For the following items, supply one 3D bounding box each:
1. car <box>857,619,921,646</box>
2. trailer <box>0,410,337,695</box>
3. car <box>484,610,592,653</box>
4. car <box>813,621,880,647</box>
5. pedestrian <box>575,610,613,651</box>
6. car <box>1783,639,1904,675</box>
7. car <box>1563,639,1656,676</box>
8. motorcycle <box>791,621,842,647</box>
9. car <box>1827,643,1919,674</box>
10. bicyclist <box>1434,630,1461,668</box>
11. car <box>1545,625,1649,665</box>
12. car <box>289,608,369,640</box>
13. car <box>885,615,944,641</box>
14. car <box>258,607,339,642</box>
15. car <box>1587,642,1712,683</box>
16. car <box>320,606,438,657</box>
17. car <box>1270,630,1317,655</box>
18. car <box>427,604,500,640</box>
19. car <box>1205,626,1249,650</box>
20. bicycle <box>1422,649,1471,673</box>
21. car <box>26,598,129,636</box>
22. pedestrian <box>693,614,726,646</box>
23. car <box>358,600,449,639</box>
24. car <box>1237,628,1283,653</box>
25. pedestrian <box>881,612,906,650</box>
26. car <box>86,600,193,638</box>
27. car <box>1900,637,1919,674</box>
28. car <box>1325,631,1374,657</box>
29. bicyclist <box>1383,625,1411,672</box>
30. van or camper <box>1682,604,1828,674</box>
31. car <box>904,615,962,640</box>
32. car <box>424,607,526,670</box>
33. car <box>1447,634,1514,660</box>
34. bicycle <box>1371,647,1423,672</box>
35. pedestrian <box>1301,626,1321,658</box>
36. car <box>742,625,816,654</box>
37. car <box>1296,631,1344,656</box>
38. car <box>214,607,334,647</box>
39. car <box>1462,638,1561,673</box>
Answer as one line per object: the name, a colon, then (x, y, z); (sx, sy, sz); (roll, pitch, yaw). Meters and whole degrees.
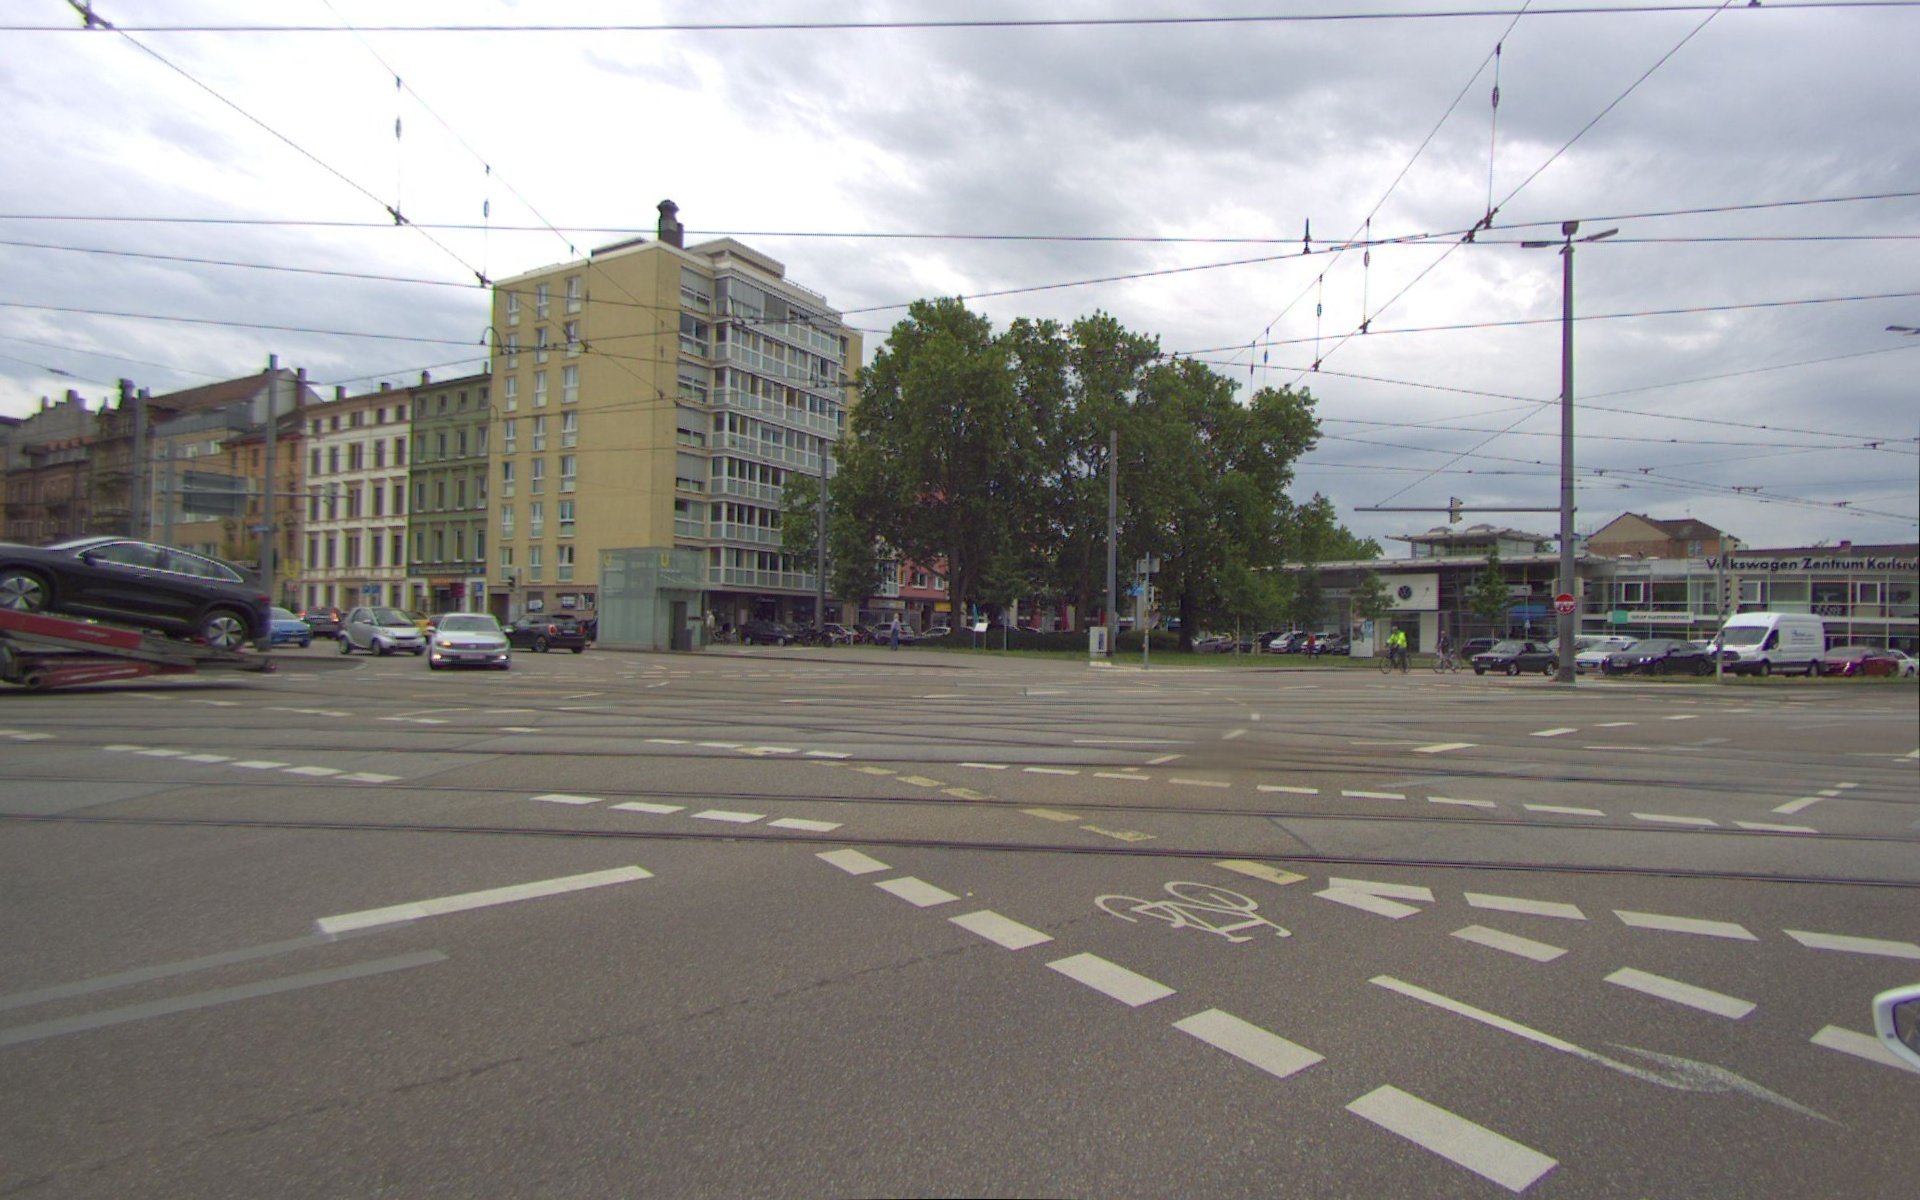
car: (-4.960, 2.270, 70.139); (3.925, 1.728, 1.998); (2, -1, 26)
trailer: (-15.028, -0.718, 14.722); (2.949, 4.025, 9.517); (2, -1, 38)
car: (-15.652, 1.152, 37.204); (3.932, 1.488, 1.770); (0, -2, 34)
car: (-7.535, 2.256, 66.635); (3.926, 1.572, 1.998); (0, -2, 27)
pedestrian: (-16.427, 1.359, 45.056); (1.021, 1.808, 1.179); (1, -1, 26)
car: (38.453, 2.488, 43.719); (4.729, 1.439, 1.991); (2, -1, -21)
car: (26.738, 2.349, 41.321); (3.691, 1.439, 1.629); (2, -1, -28)
motorcycle: (-7.157, 1.681, 50.120); (2.502, 1.194, 0.863); (2, -1, 31)
car: (46.080, 2.917, 50.263); (4.675, 1.439, 1.992); (2, -1, -18)
bicyclist: (19.889, 2.002, 40.973); (0.844, 1.528, 0.564); (0, -1, -23)
car: (37.108, 2.589, 58.658); (2.094, 2.040, 4.749); (2, -1, -27)
car: (-32.861, 1.233, 52.265); (3.927, 1.514, 1.821); (2, -1, 29)
car: (-3.399, 2.091, 74.836); (3.925, 1.728, 1.998); (2, -1, 26)
car: (-32.592, 1.204, 49.457); (3.930, 1.514, 1.820); (2, -1, 32)
car: (25.895, 2.331, 37.711); (4.603, 1.439, 1.986); (2, -1, -28)
car: (-18.819, 0.996, 32.516); (3.562, 1.513, 1.994); (1, -1, 36)
car: (28.940, 3.701, 87.134); (3.966, 2.040, 1.977); (3, -1, -39)
car: (-26.477, 1.149, 53.726); (2.041, 1.778, 3.998); (2, -1, -4)
car: (24.458, 3.512, 91.976); (3.966, 2.040, 1.977); (3, -1, -39)
bicycle: (19.831, 2.486, 40.944); (2.191, 0.938, 0.517); (1, -1, -24)
car: (-38.317, 0.731, 43.612); (3.926, 1.550, 1.998); (1, -1, 27)
pedestrian: (-13.396, 1.587, 53.682); (1.307, 1.661, 1.040); (0, -1, 27)
car: (-24.143, 0.829, 43.567); (3.932, 1.514, 1.819); (2, -1, 33)
car: (26.644, 3.623, 89.239); (3.966, 2.040, 1.977); (3, -1, -39)
pedestrian: (-3.123, 1.473, 47.392); (0.897, 1.742, 0.707); (2, 0, 18)
car: (-33.598, 0.781, 41.119); (3.927, 1.461, 1.997); (1, -2, 28)
car: (51.964, 2.920, 52.246); (5.361, 1.881, 2.155); (2, -1, -18)
car: (32.159, 3.641, 82.887); (3.966, 2.040, 1.977); (3, -1, -39)
bicyclist: (17.316, 1.927, 39.789); (0.786, 1.827, 0.626); (2, -1, -23)
van or camper: (32.532, 1.601, 41.058); (5.975, 2.645, 2.406); (3, -1, -27)
car: (-2.097, 2.116, 77.570); (3.925, 1.728, 1.998); (2, -1, 26)
car: (-12.790, 0.996, 26.749); (1.970, 1.513, 4.657); (2, -2, -21)
car: (30.691, 2.766, 59.233); (3.687, 1.439, 1.631); (2, -1, -25)
bicycle: (17.326, 2.359, 39.810); (2.191, 0.942, 0.517); (1, -1, -24)
pedestrian: (21.828, 2.612, 62.430); (0.847, 1.925, 0.707); (2, 0, -14)
car: (-10.719, 2.319, 59.480); (3.926, 1.572, 1.998); (0, -2, 27)
car: (30.572, 3.695, 85.239); (3.966, 2.040, 1.977); (3, -1, -39)
car: (-24.880, 0.972, 36.421); (3.927, 1.327, 1.997); (1, -2, 28)
car: (21.662, 2.165, 39.417); (3.691, 1.263, 1.680); (2, -1, -28)
